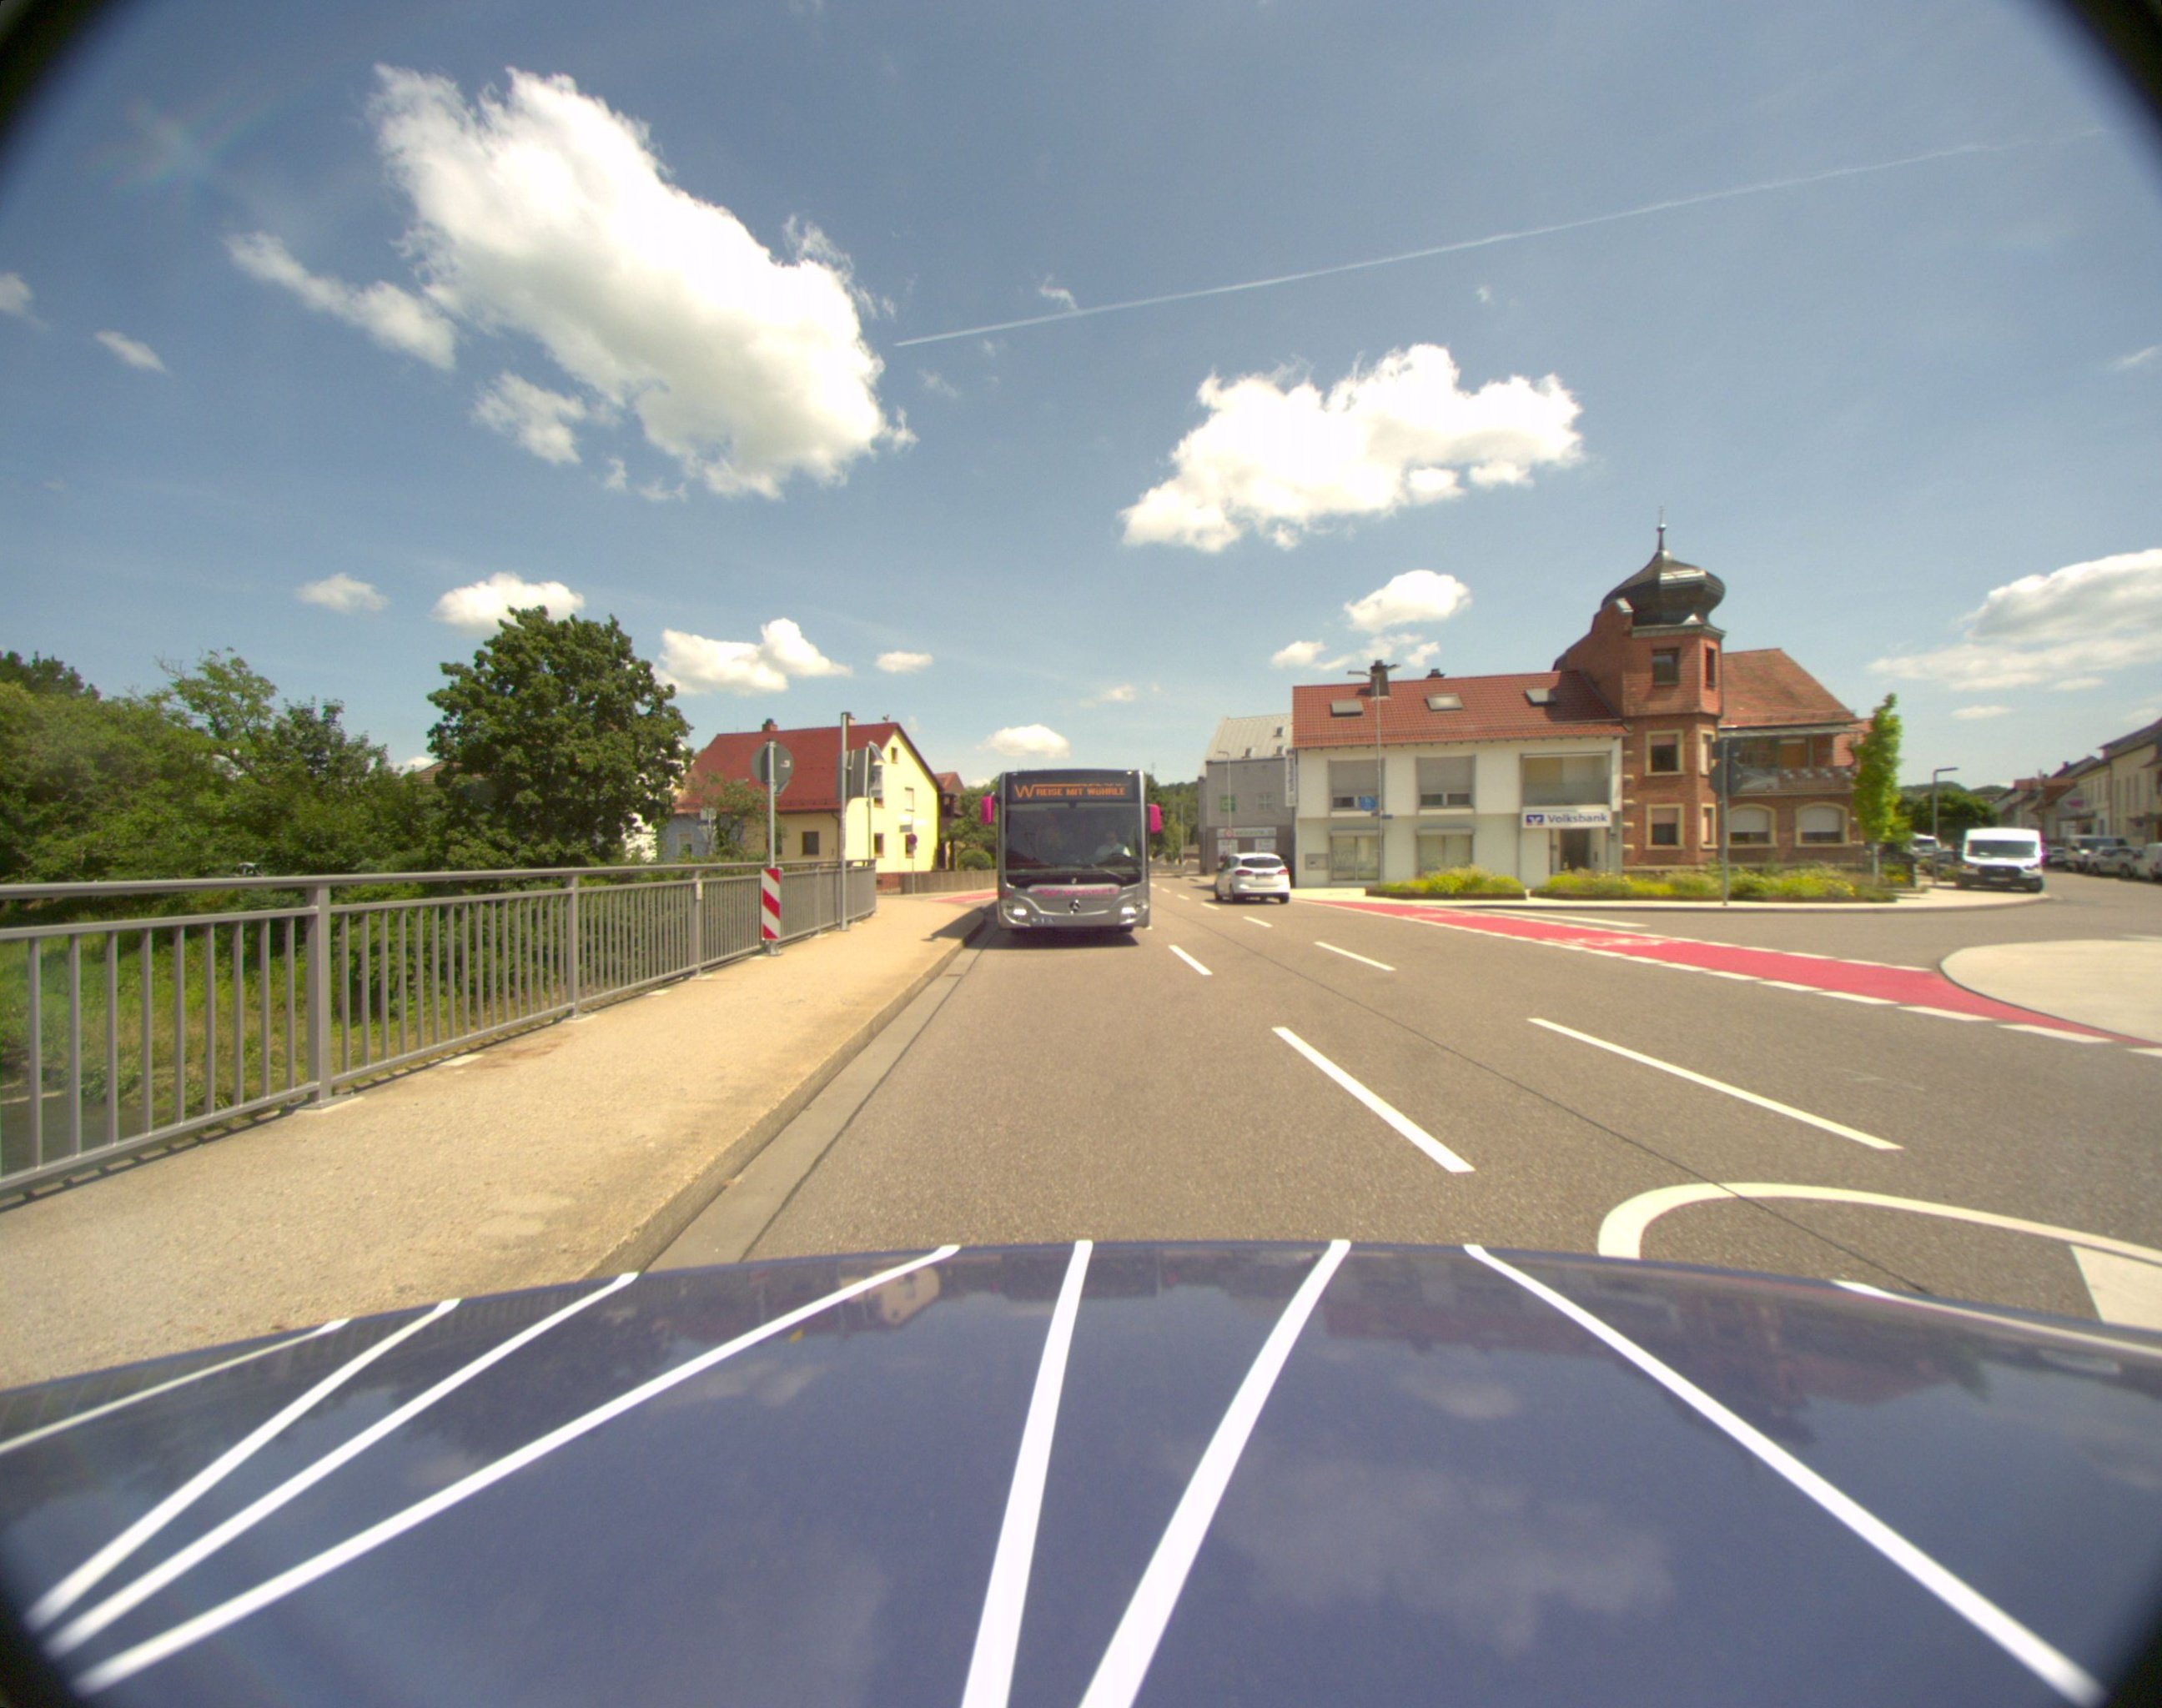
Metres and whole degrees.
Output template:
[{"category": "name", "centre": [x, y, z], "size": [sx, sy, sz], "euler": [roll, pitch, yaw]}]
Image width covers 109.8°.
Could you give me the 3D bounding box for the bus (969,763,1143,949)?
[{"category": "bus", "centre": [-0.255, 0.151, 16.825], "size": [2.755, 2.949, 9.284], "euler": [1, -2, 2]}]

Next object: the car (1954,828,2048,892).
[{"category": "car", "centre": [36.159, 0.197, 29.876], "size": [5.122, 2.332, 2.167], "euler": [0, 1, -39]}]

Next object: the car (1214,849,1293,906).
[{"category": "car", "centre": [5.544, 0.701, 24.898], "size": [1.819, 1.640, 4.000], "euler": [-2, 1, 3]}]

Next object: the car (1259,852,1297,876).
[{"category": "car", "centre": [13.465, 0.645, 51.720], "size": [1.995, 1.565, 4.260], "euler": [0, 0, 22]}]

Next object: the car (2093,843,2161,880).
[{"category": "car", "centre": [54.955, 0.358, 39.686], "size": [1.862, 1.839, 4.008], "euler": [1, 1, 44]}]

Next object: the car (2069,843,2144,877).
[{"category": "car", "centre": [58.462, 0.280, 43.386], "size": [1.862, 1.839, 4.008], "euler": [1, 1, 44]}]

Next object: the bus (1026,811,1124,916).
[{"category": "bus", "centre": [-0.064, 0.400, 26.180], "size": [2.755, 2.949, 9.284], "euler": [1, -2, 1]}]

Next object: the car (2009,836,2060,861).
[{"category": "car", "centre": [71.292, -0.417, 56.862], "size": [1.862, 1.839, 4.008], "euler": [1, 1, 44]}]

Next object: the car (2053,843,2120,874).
[{"category": "car", "centre": [62.144, 0.229, 47.035], "size": [1.862, 1.839, 4.008], "euler": [1, 1, 44]}]

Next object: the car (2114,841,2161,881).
[{"category": "car", "centre": [51.330, 0.317, 36.137], "size": [1.918, 1.867, 4.008], "euler": [1, 1, 44]}]

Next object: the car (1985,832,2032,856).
[{"category": "car", "centre": [80.601, -0.884, 66.078], "size": [1.994, 2.002, 4.008], "euler": [1, 1, 42]}]

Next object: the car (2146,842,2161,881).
[{"category": "car", "centre": [47.824, 0.341, 32.299], "size": [2.063, 1.718, 4.008], "euler": [1, 1, 41]}]

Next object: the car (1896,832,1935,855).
[{"category": "car", "centre": [76.909, -0.960, 70.103], "size": [1.994, 2.002, 4.008], "euler": [1, 1, 42]}]
